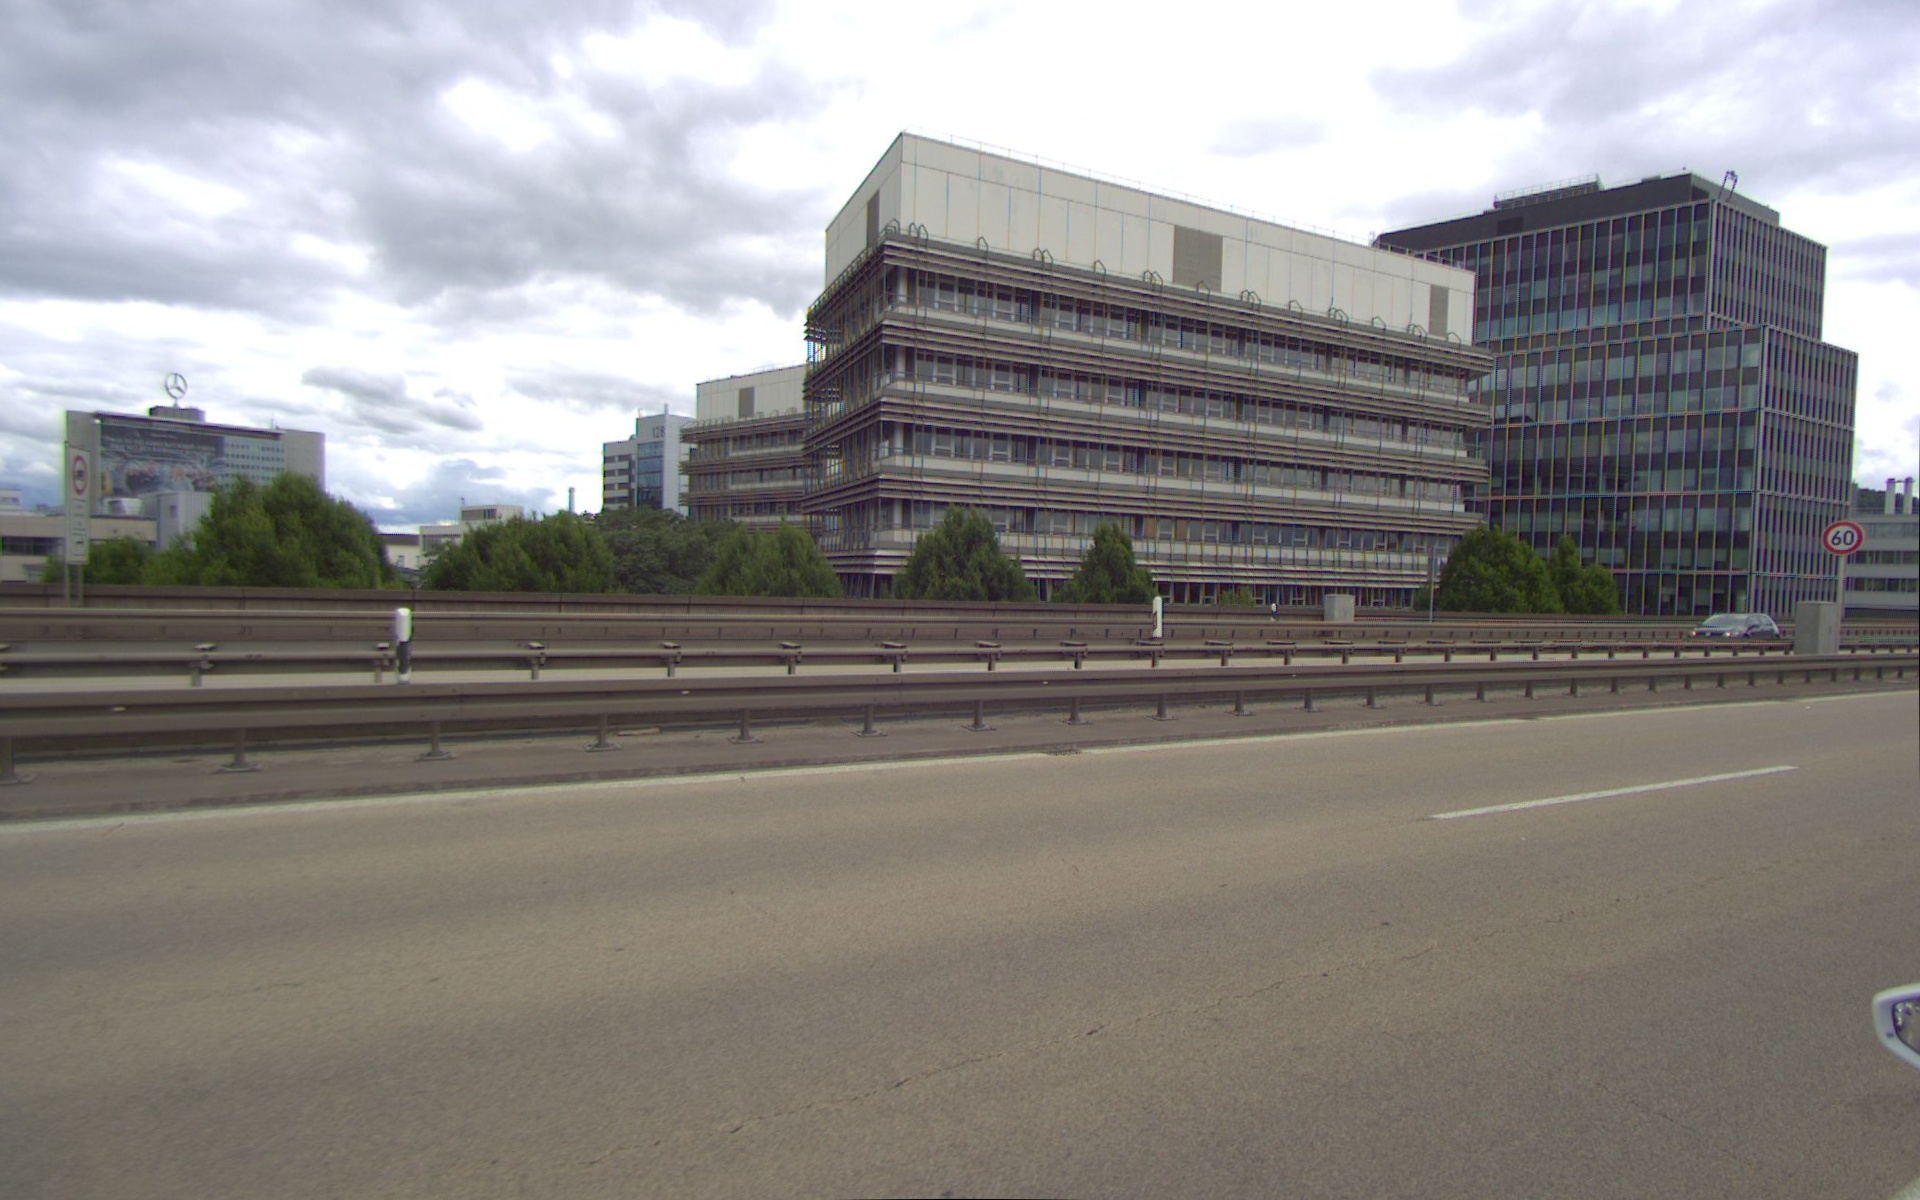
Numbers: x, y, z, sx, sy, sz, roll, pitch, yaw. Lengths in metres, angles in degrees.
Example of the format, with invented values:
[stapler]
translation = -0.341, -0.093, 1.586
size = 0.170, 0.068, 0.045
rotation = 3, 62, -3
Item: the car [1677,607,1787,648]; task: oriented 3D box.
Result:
[car]
translation = 28.662, 1.024, 37.276
size = 4.180, 1.395, 1.778
rotation = 2, 1, -31
